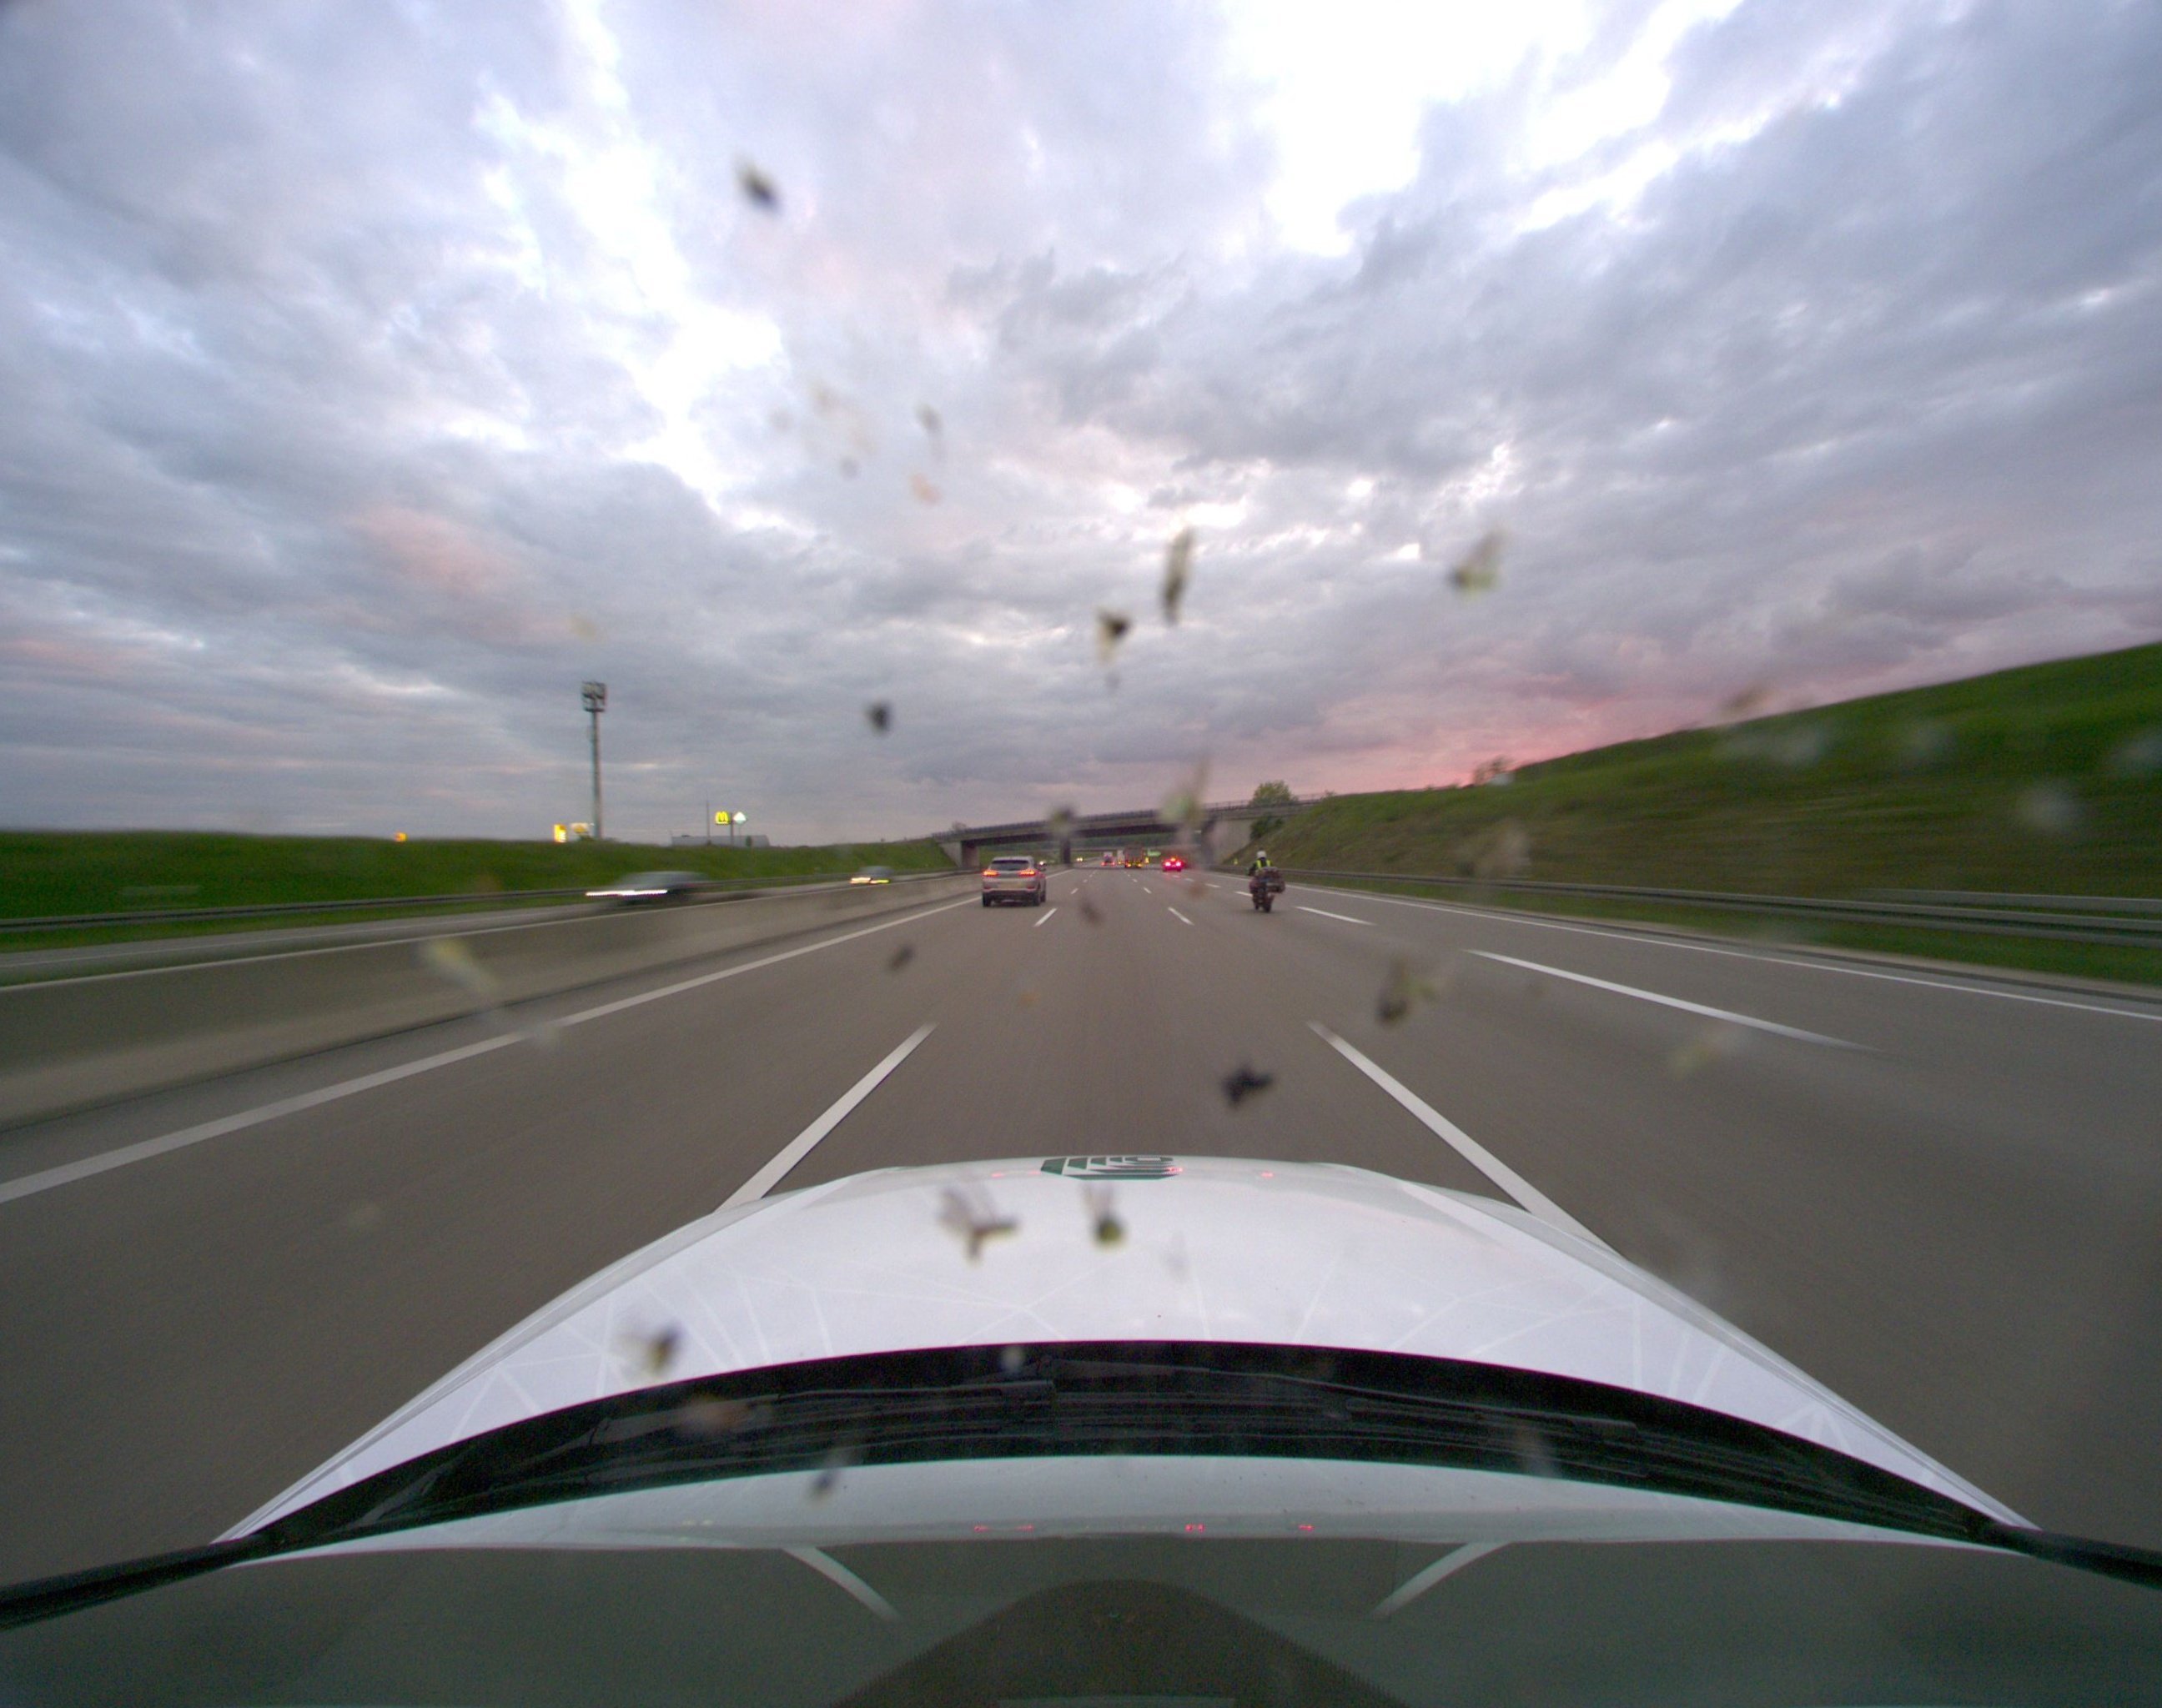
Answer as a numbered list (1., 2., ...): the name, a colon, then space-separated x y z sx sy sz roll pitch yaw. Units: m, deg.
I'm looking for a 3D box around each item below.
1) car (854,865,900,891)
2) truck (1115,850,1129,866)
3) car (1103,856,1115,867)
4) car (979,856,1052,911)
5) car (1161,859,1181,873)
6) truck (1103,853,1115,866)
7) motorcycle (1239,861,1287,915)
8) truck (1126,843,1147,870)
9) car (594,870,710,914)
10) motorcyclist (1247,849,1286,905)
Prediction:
1. car: -13.384 1.548 53.645 1.812 1.628 4.002 -1 0 2
2. truck: 11.409 1.144 227.836 3.512 4.345 8.408 0 0 1
3. car: 6.381 1.705 186.971 2.507 2.391 6.497 -2 0 1
4. car: -2.156 0.930 28.226 1.845 1.692 5.514 -1 0 2
5. car: 10.199 1.358 92.560 1.911 1.579 4.001 -1 0 1
6. truck: 6.878 1.291 203.293 2.941 3.217 8.408 0 0 1
7. motorcycle: 5.007 0.909 22.565 0.898 1.346 2.350 -1 0 2
8. truck: 9.092 0.362 134.503 3.221 4.227 9.604 0 0 2
9. car: -17.772 1.529 34.089 1.987 1.602 5.200 -1 -1 1
10. motorcyclist: 5.046 0.604 22.263 0.862 1.487 1.169 0 0 3
